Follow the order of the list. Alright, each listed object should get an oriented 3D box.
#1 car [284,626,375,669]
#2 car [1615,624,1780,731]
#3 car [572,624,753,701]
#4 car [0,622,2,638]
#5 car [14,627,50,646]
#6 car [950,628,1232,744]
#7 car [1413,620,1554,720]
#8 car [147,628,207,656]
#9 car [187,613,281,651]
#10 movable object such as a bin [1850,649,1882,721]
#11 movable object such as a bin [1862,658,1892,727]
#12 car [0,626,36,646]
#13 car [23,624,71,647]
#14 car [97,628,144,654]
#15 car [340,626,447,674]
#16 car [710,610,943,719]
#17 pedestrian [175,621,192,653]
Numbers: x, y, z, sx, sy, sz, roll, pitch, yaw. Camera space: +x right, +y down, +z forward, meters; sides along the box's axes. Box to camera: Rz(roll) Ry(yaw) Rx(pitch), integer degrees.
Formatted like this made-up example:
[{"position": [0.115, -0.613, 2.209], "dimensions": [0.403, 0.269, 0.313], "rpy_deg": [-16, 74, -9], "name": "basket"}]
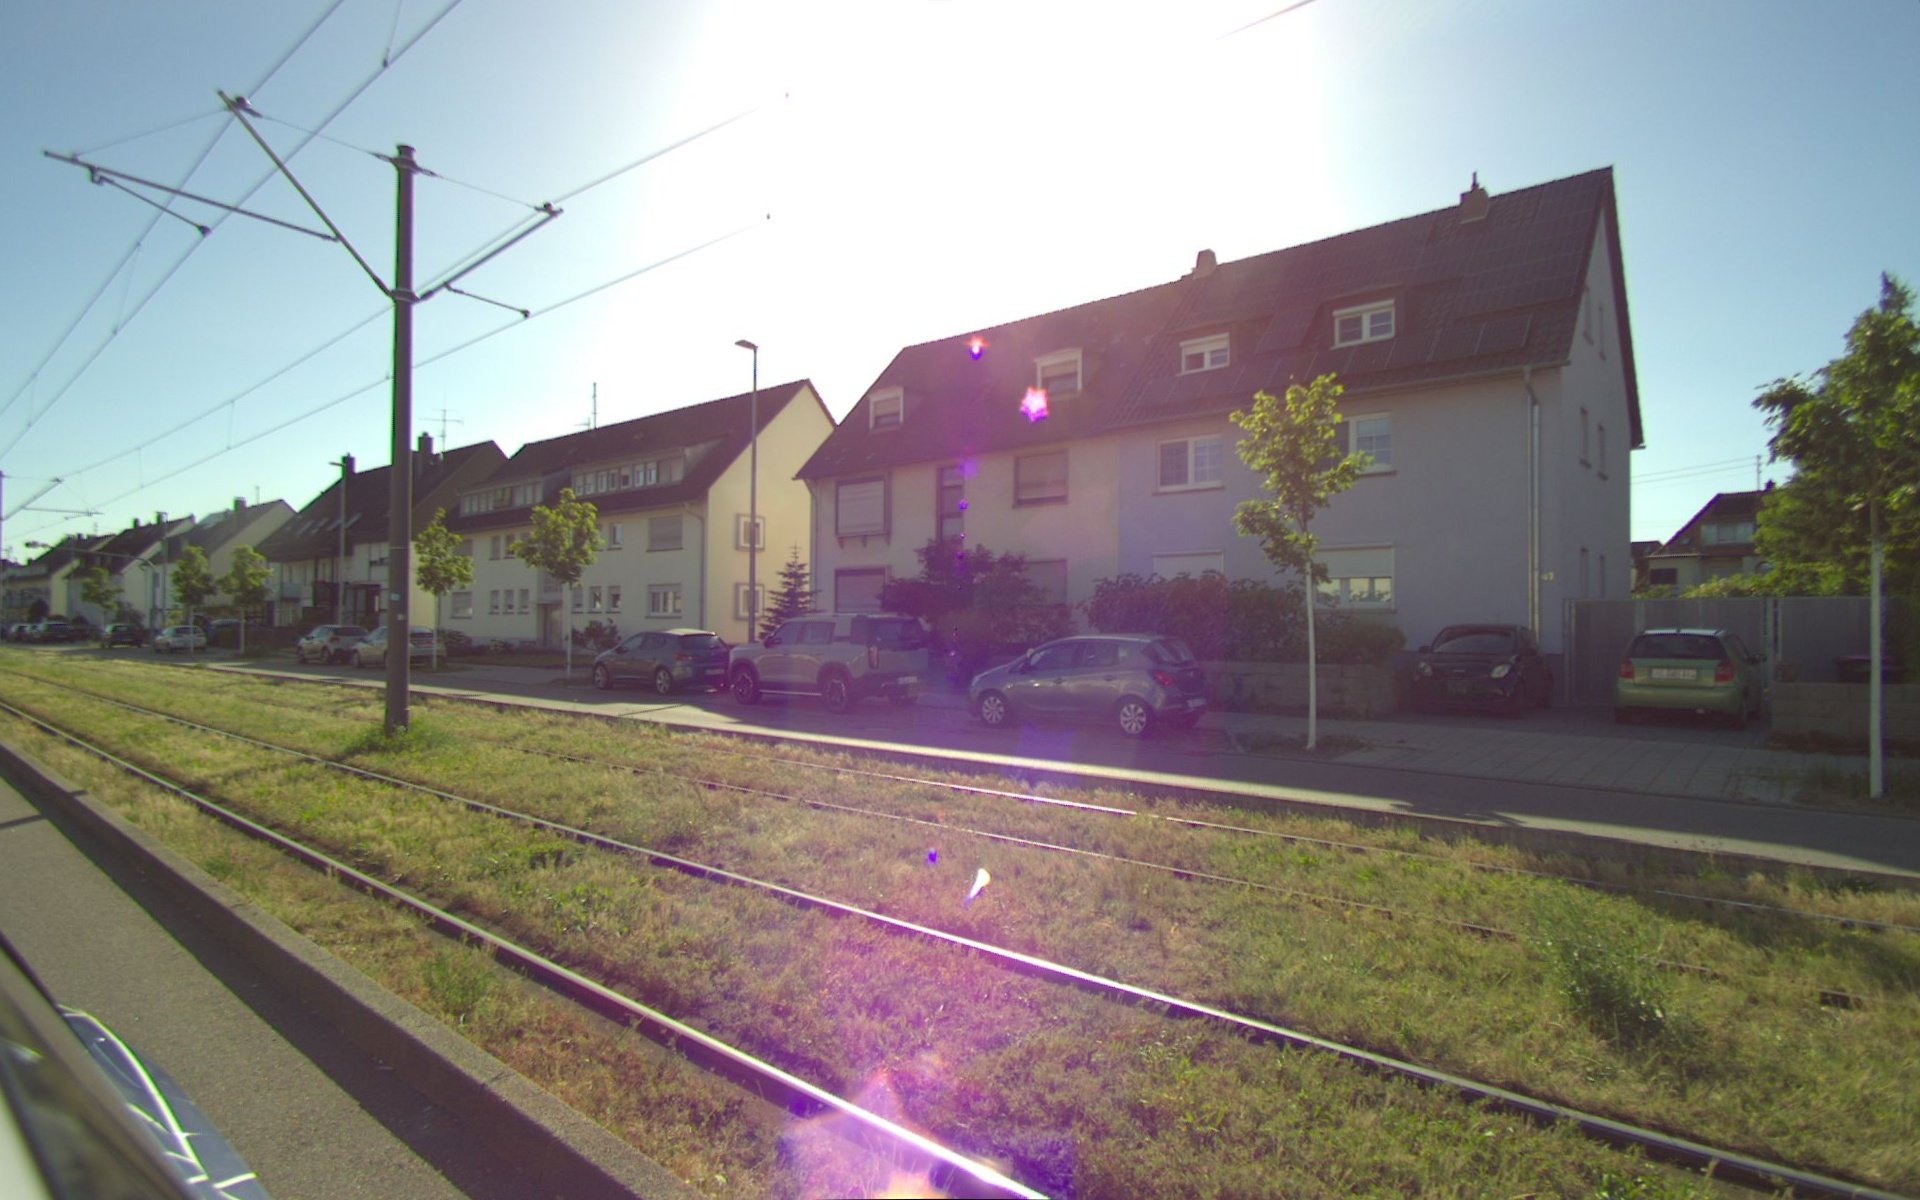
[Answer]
[{"position": [-23.992, 1.756, 38.455], "dimensions": [4.310, 1.484, 1.672], "rpy_deg": [-1, 0, 39], "name": "car"}, {"position": [11.694, 1.122, 15.974], "dimensions": [1.705, 1.485, 3.573], "rpy_deg": [-1, -2, 43], "name": "car"}, {"position": [-7.032, 1.373, 23.698], "dimensions": [4.554, 1.552, 1.940], "rpy_deg": [-1, 0, 41], "name": "car"}, {"position": [-87.656, 2.721, 91.061], "dimensions": [4.089, 1.408, 1.683], "rpy_deg": [-1, 0, 39], "name": "car"}, {"position": [-71.958, 2.828, 78.489], "dimensions": [3.994, 1.479, 1.451], "rpy_deg": [-2, -3, 39], "name": "car"}, {"position": [1.937, 1.224, 15.631], "dimensions": [4.046, 1.502, 1.660], "rpy_deg": [-1, 0, 39], "name": "car"}, {"position": [9.249, 1.132, 17.755], "dimensions": [1.688, 1.472, 3.599], "rpy_deg": [-1, 0, 36], "name": "car"}, {"position": [-41.453, 2.189, 53.553], "dimensions": [4.099, 1.447, 1.641], "rpy_deg": [-1, -2, 39], "name": "car"}, {"position": [-44.999, 1.950, 62.814], "dimensions": [1.786, 2.096, 4.415], "rpy_deg": [-1, 1, 41], "name": "car"}, {"position": [13.970, 1.304, 15.612], "dimensions": [0.337, 1.071, 0.582], "rpy_deg": [-1, -2, 41], "name": "movable object such as a bin"}, {"position": [13.580, 1.360, 14.987], "dimensions": [0.296, 0.977, 0.586], "rpy_deg": [-1, -3, 41], "name": "movable object such as a bin"}, {"position": [-75.857, 2.893, 81.439], "dimensions": [4.396, 1.466, 1.637], "rpy_deg": [-1, 0, 39], "name": "car"}, {"position": [-67.911, 2.632, 75.261], "dimensions": [4.853, 1.572, 1.902], "rpy_deg": [-1, 0, 39], "name": "car"}, {"position": [-51.320, 2.470, 61.831], "dimensions": [4.083, 1.523, 1.602], "rpy_deg": [-1, -1, 41], "name": "car"}, {"position": [-19.314, 1.649, 34.433], "dimensions": [4.438, 1.486, 1.672], "rpy_deg": [-1, 0, 39], "name": "car"}, {"position": [-2.698, 1.155, 19.625], "dimensions": [4.839, 1.837, 1.727], "rpy_deg": [-1, 0, 42], "name": "car"}, {"position": [-45.373, 2.136, 59.134], "dimensions": [0.676, 1.829, 0.611], "rpy_deg": [-1, 0, 32], "name": "pedestrian"}]
